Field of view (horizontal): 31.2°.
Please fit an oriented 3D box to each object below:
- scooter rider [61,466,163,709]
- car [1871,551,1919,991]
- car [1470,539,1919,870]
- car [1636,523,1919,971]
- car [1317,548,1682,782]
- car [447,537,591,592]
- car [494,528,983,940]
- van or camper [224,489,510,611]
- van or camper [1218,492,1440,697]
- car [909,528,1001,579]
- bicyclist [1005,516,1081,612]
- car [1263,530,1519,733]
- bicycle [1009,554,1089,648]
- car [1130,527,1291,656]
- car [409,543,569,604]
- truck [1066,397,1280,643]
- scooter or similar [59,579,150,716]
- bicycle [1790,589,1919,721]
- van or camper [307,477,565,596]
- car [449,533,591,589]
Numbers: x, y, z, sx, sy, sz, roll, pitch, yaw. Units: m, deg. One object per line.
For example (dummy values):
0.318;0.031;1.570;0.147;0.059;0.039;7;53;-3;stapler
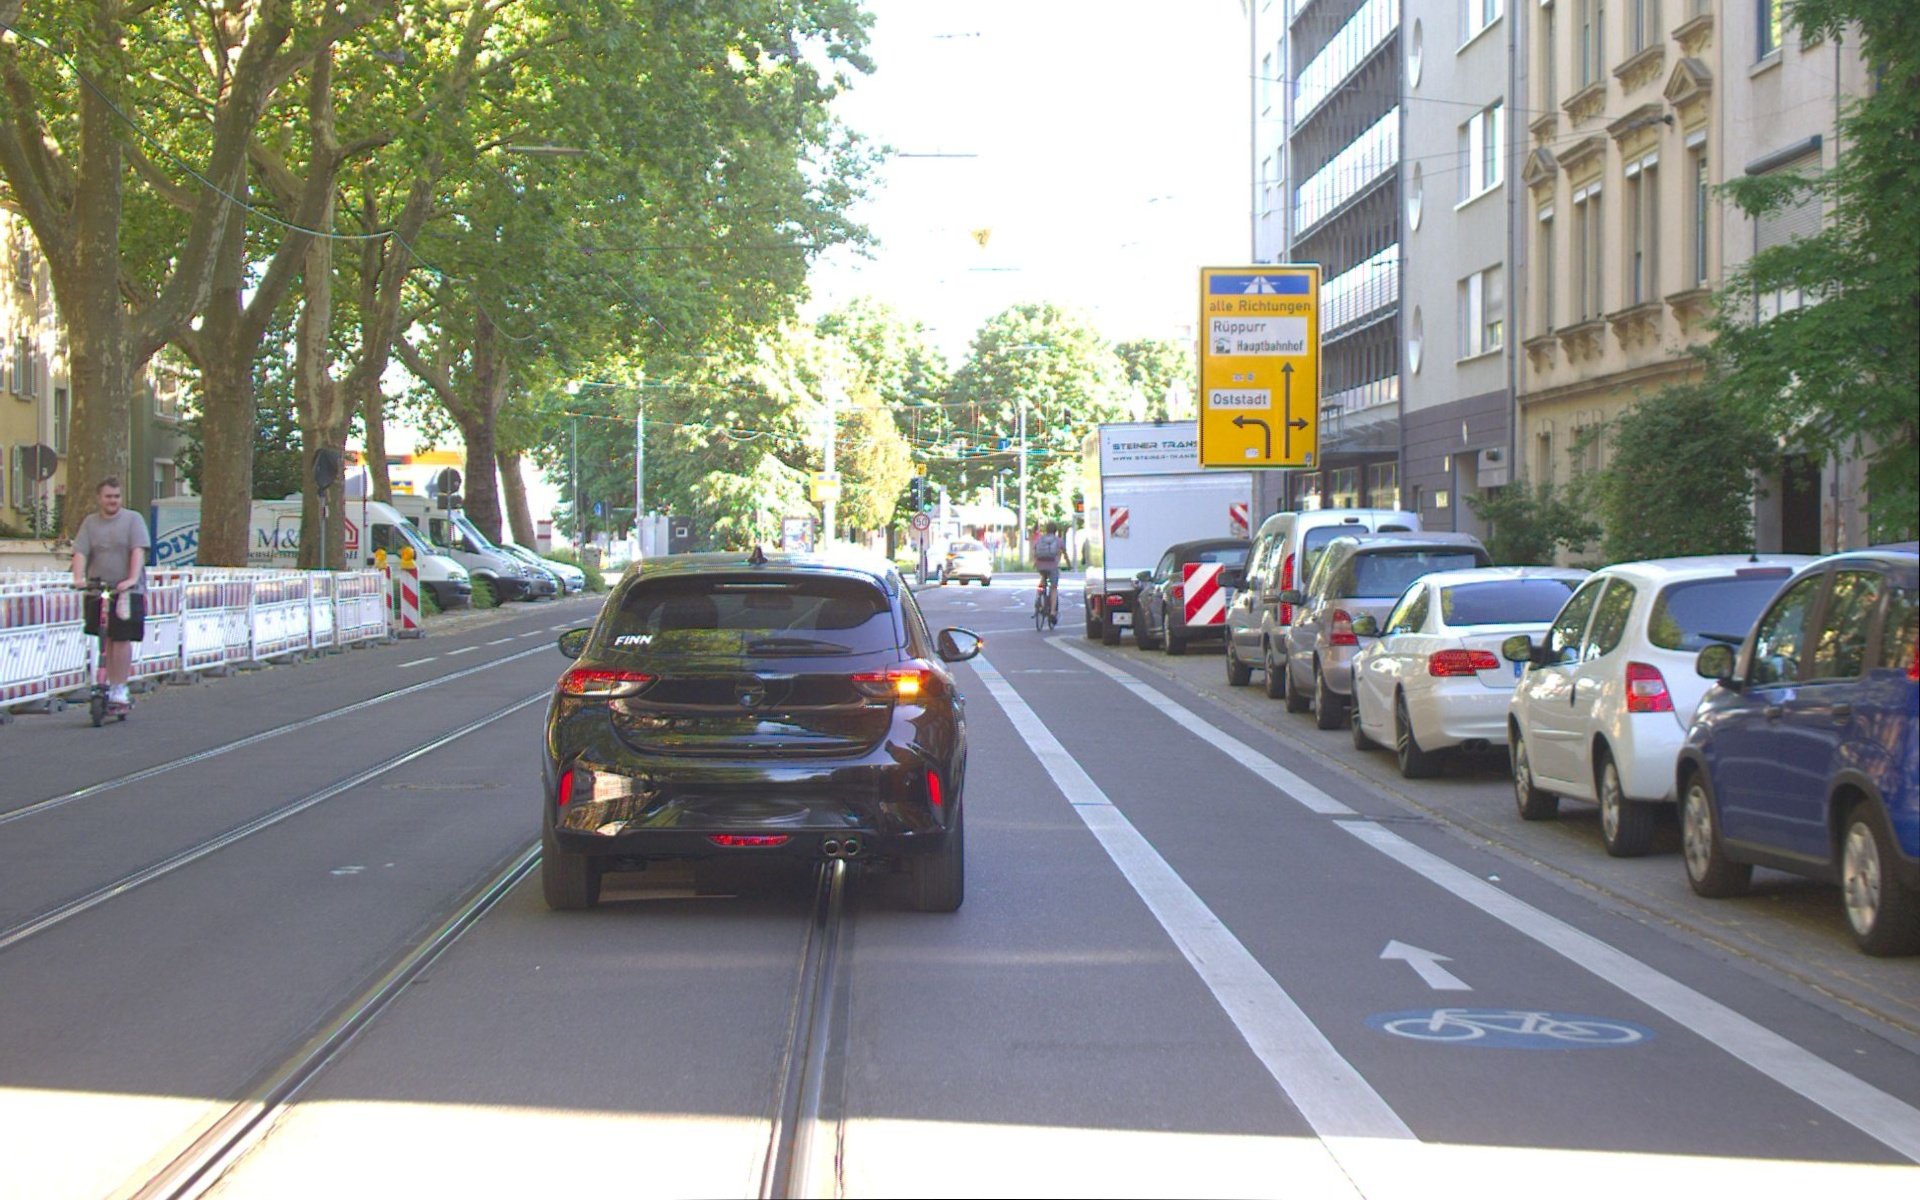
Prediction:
-6.937;-0.104;28.134;0.649;1.950;0.624;1;1;-1;scooter rider
4.083;0.586;9.948;1.733;1.457;3.917;-2;1;-1;car
3.821;0.467;18.197;1.591;1.521;3.835;-2;1;-1;car
3.936;0.511;14.062;1.526;1.584;3.752;1;1;-1;car
3.650;0.374;24.045;1.659;1.394;4.740;-2;1;-1;car
-12.943;-1.035;100.973;3.987;1.510;1.650;1;1;0;car
-0.872;0.456;14.710;1.781;1.491;4.001;1;1;-2;car
-12.385;-1.047;72.056;5.502;2.371;2.269;1;1;3;van or camper
3.571;-0.098;33.932;1.669;1.876;4.211;-1;1;-1;van or camper
-0.194;-1.623;119.169;1.993;1.690;4.741;-2;1;-15;car
1.449;-0.632;59.607;1.090;1.641;1.400;1;1;10;bicyclist
3.582;0.211;29.076;1.660;1.575;3.589;-1;1;-1;car
1.563;-0.008;59.806;0.916;1.555;3.403;1;1;9;bicycle
3.262;-0.145;45.411;1.730;1.552;4.152;-2;1;-1;car
-12.439;-0.699;90.899;3.987;1.510;1.650;1;1;0;car
3.066;-1.169;51.295;2.538;3.326;7.195;-2;1;-1;truck
-6.981;0.375;28.090;0.407;1.079;1.338;1;1;-1;scooter or similar
7.732;0.433;27.843;1.894;1.026;0.476;-1;1;4;bicycle
-12.366;-1.492;81.372;5.723;2.635;2.269;1;1;0;van or camper
-13.317;-1.183;104.252;4.167;1.665;1.965;0;1;-4;car
